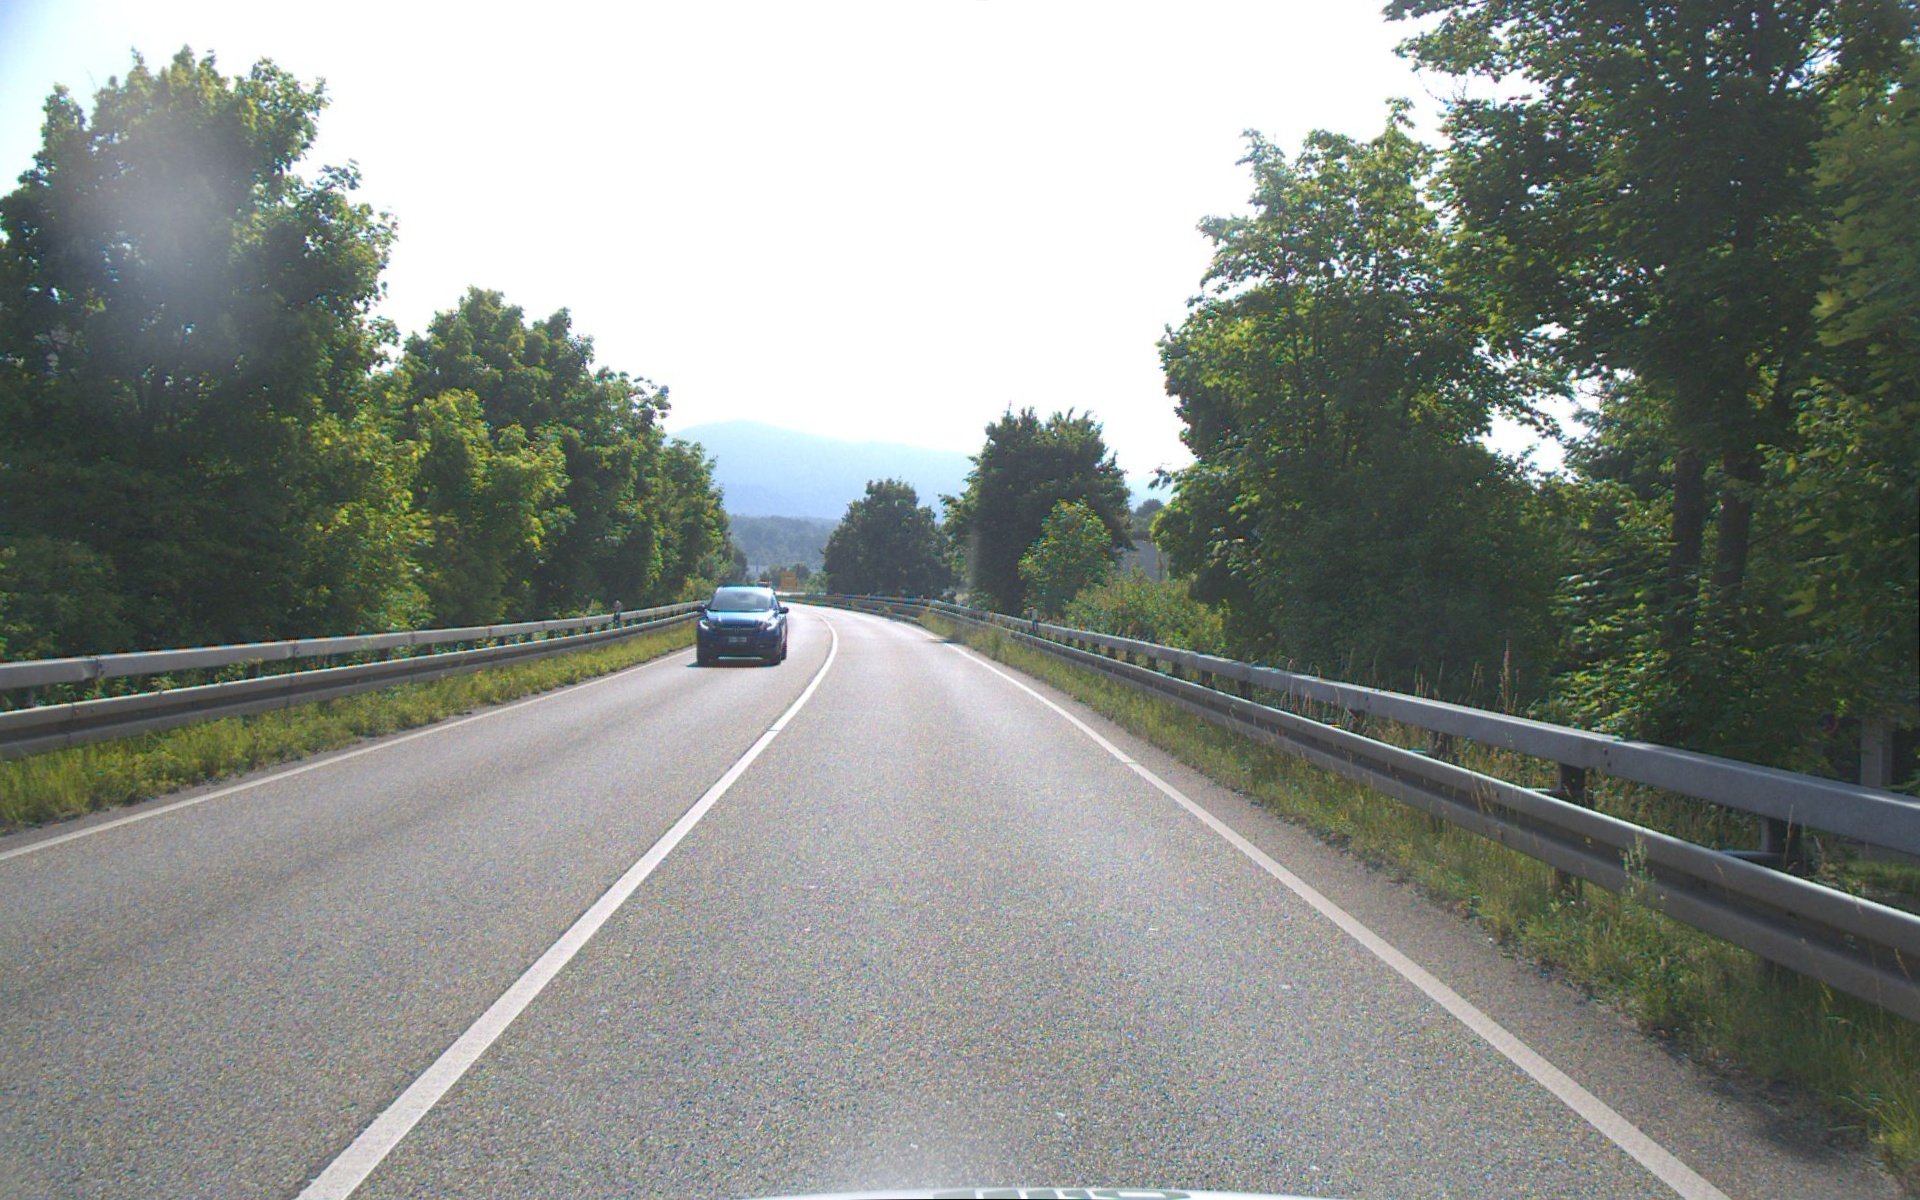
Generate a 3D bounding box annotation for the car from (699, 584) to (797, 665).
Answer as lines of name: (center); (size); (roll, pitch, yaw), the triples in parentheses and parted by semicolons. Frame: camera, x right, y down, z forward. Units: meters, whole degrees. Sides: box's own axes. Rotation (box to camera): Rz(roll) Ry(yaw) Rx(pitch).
car: (-4.506, 0.498, 35.623); (1.771, 1.588, 3.990); (-1, 0, -3)
